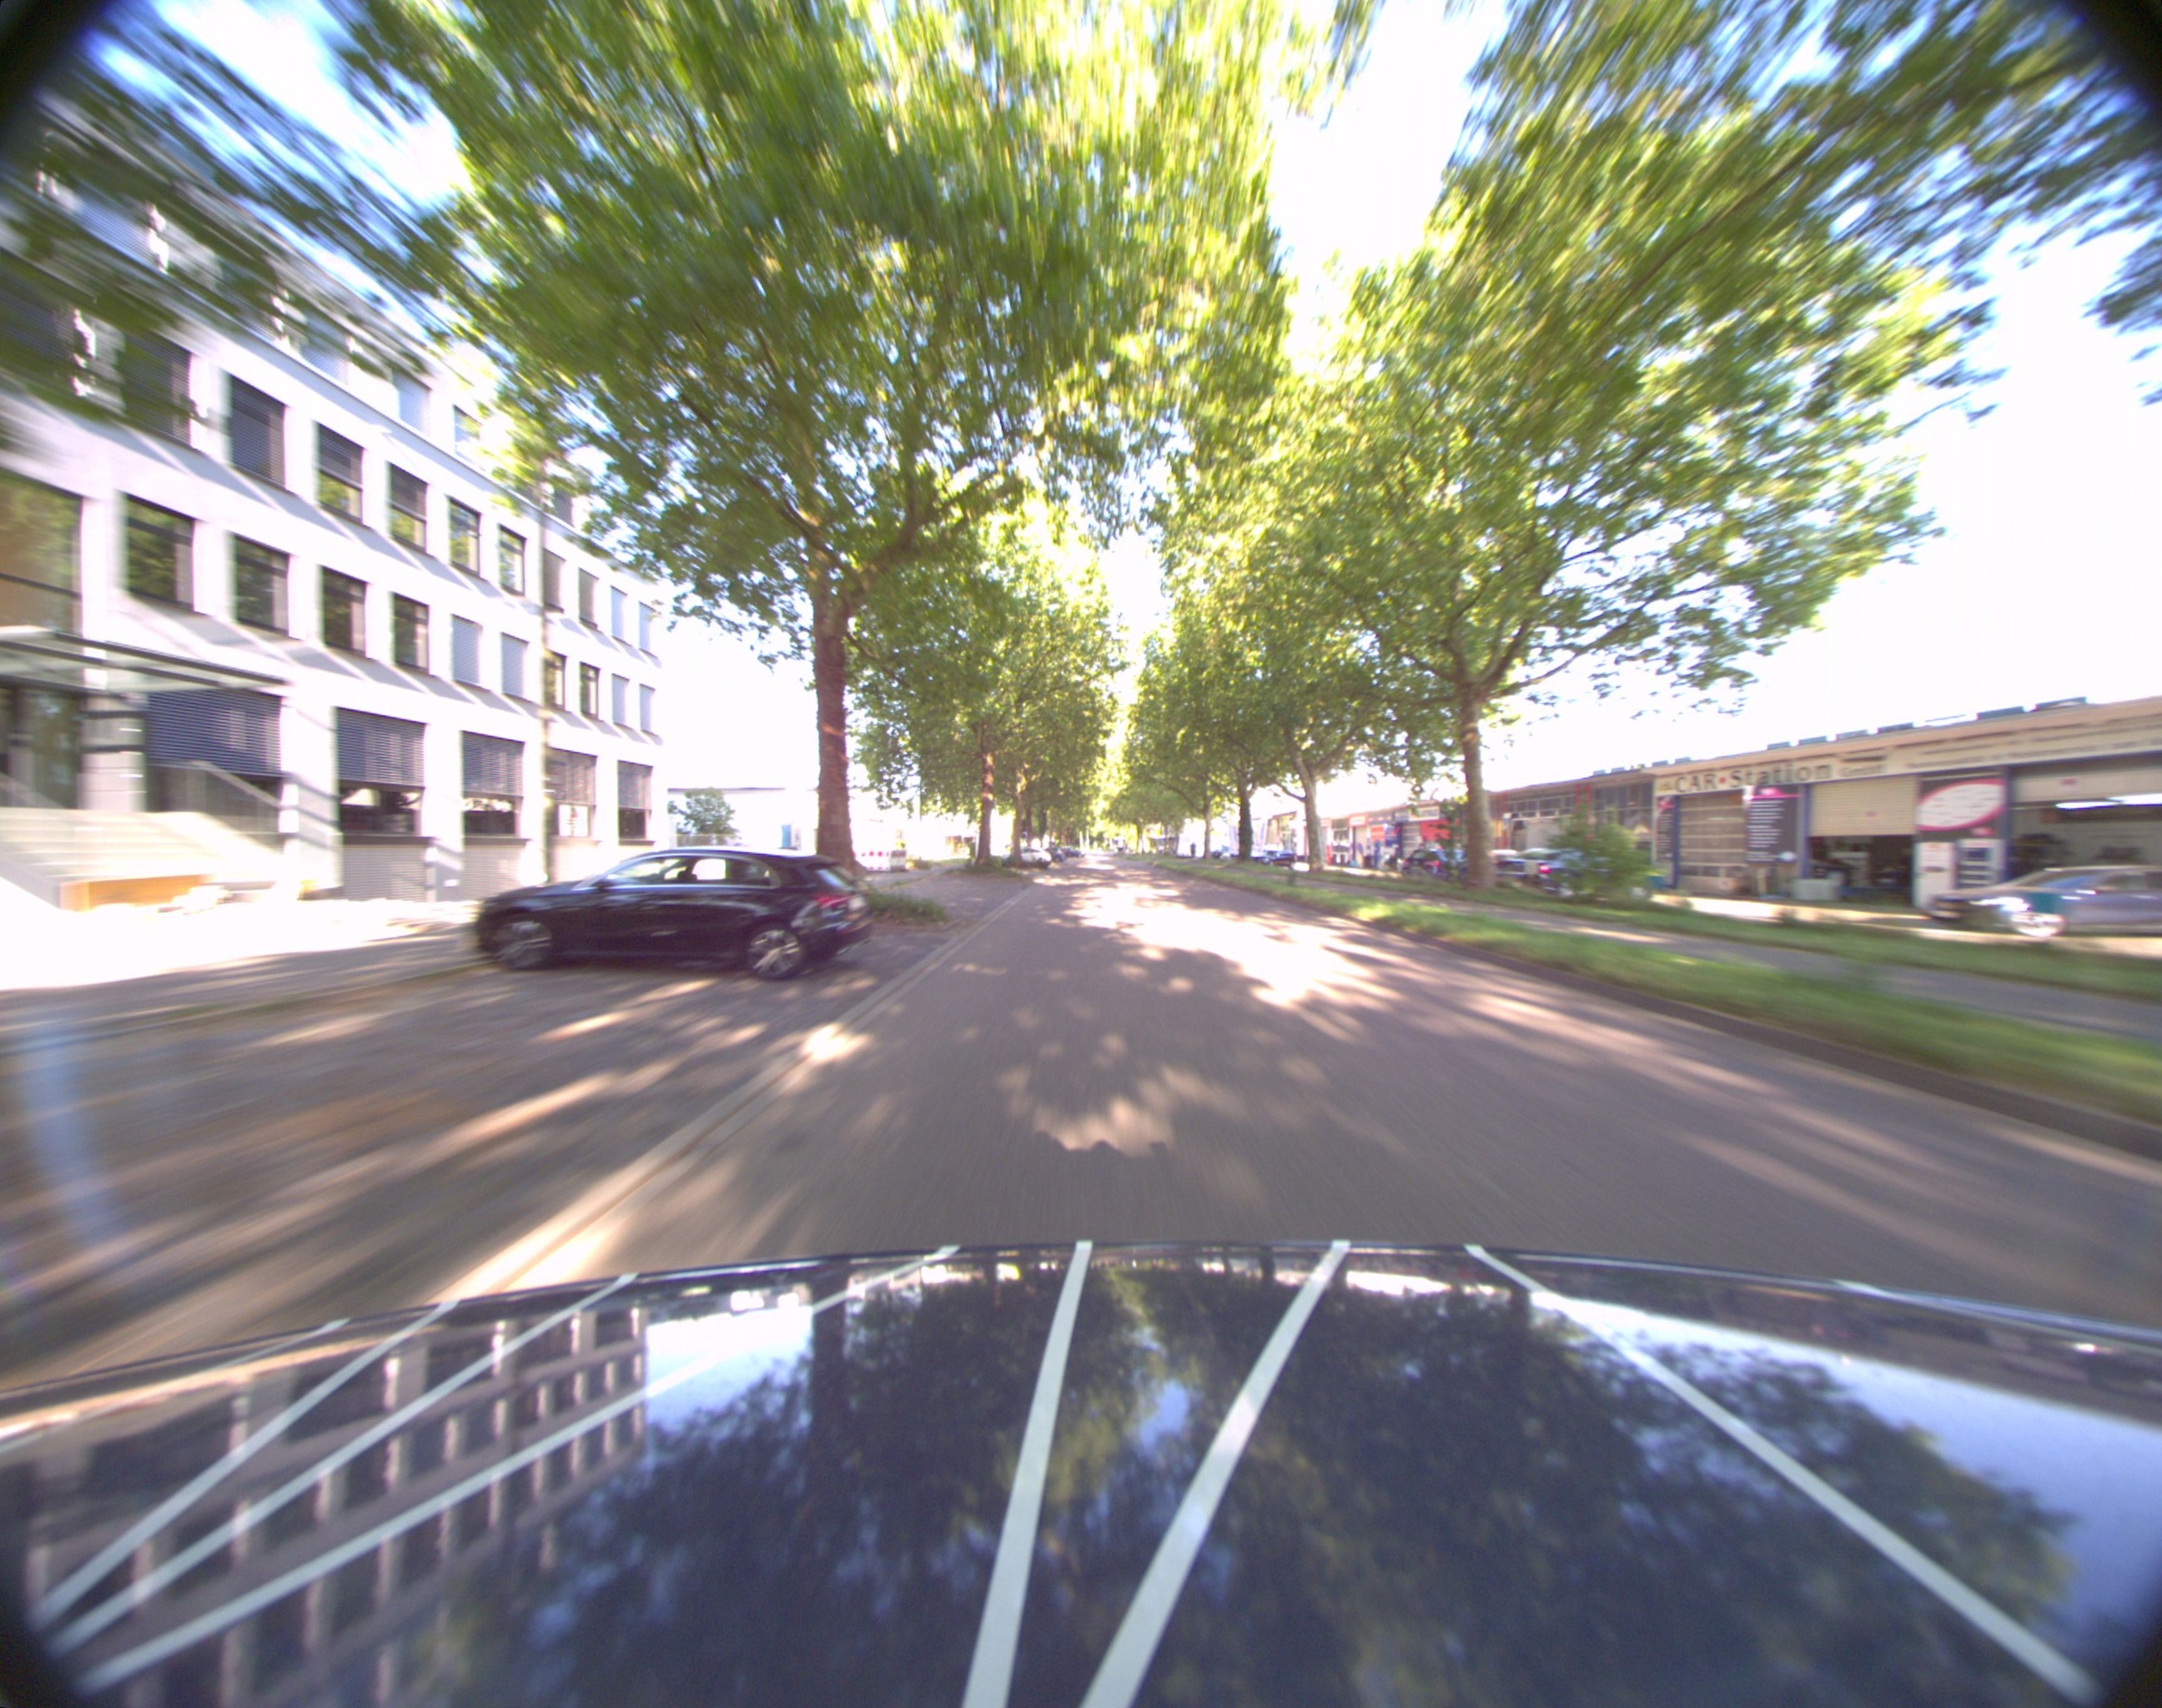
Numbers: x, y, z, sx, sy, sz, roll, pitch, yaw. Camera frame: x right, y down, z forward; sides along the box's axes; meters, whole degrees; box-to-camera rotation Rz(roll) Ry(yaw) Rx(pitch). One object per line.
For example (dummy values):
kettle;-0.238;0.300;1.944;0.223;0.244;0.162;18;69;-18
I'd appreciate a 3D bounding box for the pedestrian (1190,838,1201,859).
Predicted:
pedestrian;9.392;-0.458;62.386;0.805;1.763;0.940;-2;2;2

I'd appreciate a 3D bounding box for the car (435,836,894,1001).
car;-4.610;0.669;8.935;4.295;1.477;1.860;4;1;-1

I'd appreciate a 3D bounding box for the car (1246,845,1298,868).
car;14.050;0.173;55.922;3.850;1.566;1.994;-3;2;-45

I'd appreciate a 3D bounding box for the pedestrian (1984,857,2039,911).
pedestrian;26.093;0.842;21.324;0.693;1.464;0.685;-1;2;9

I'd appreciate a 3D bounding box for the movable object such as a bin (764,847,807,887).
movable object such as a bin;-9.839;0.418;25.347;0.749;1.256;1.611;-2;1;1

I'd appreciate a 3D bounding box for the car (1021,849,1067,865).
car;-3.660;0.314;75.281;4.405;1.410;1.999;2;1;-4

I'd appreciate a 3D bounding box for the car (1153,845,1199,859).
car;14.433;-0.297;115.948;6.376;1.669;2.722;3;-1;-18

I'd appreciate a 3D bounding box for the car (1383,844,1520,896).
car;14.198;0.562;29.111;4.905;1.750;1.996;-2;1;-23

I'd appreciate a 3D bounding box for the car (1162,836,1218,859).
car;13.363;-0.761;93.218;6.338;2.482;2.595;4;-1;-29

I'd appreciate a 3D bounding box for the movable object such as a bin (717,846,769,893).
movable object such as a bin;-10.056;0.435;22.681;0.749;1.343;1.620;-2;1;1

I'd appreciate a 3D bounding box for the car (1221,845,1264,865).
car;14.093;0.099;66.153;1.994;1.562;4.059;-1;2;38

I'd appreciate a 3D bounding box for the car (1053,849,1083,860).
car;-1.872;0.046;111.485;4.296;1.410;2.000;2;1;3

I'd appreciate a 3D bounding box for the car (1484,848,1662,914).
car;13.500;0.670;20.874;4.355;1.521;1.996;-2;1;-23

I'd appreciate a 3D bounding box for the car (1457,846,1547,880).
car;21.910;0.468;39.649;3.989;1.696;2.003;-1;2;28

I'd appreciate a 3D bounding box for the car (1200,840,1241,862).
car;12.930;-0.298;70.197;1.994;1.829;4.257;-1;2;38

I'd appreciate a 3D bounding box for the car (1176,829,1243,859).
car;14.144;-1.091;83.638;6.972;2.835;2.595;4;-1;-28

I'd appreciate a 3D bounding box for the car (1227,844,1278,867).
car;14.232;0.129;63.001;4.321;1.741;1.994;-3;2;-43

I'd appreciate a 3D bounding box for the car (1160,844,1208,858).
car;15.370;-0.383;113.126;6.429;1.669;2.722;3;-1;-18

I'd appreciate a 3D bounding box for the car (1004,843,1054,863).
car;-4.205;-0.108;61.745;3.944;1.505;1.666;2;1;0

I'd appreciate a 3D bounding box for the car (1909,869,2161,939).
car;21.653;1.068;16.613;4.467;1.313;2.001;-1;1;11
